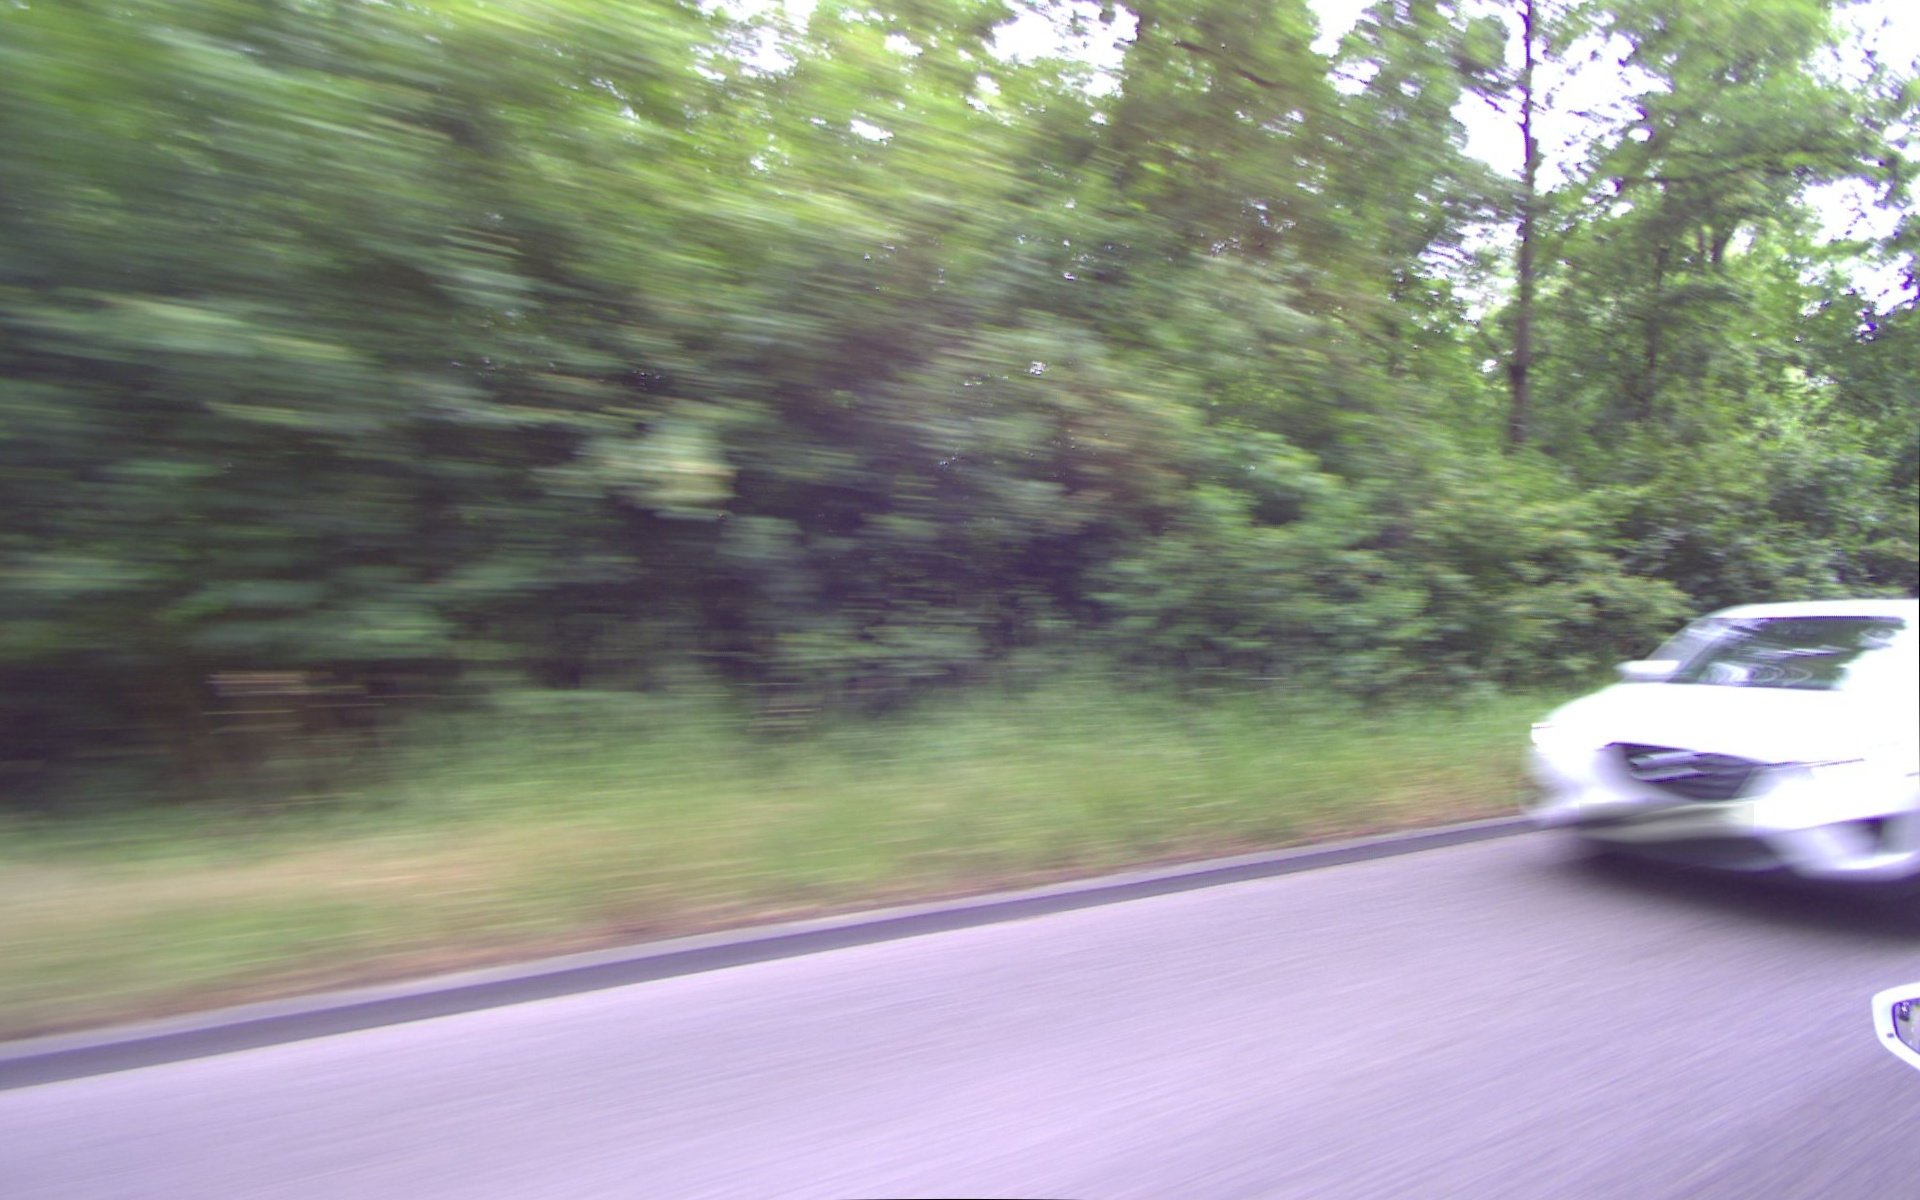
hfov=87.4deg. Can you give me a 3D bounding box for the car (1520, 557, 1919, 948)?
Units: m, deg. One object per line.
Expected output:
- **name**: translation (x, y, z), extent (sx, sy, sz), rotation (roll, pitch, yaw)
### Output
- **car**: translation (5.602, 0.726, 6.266), extent (4.239, 1.717, 1.809), rotation (2, 0, -32)
